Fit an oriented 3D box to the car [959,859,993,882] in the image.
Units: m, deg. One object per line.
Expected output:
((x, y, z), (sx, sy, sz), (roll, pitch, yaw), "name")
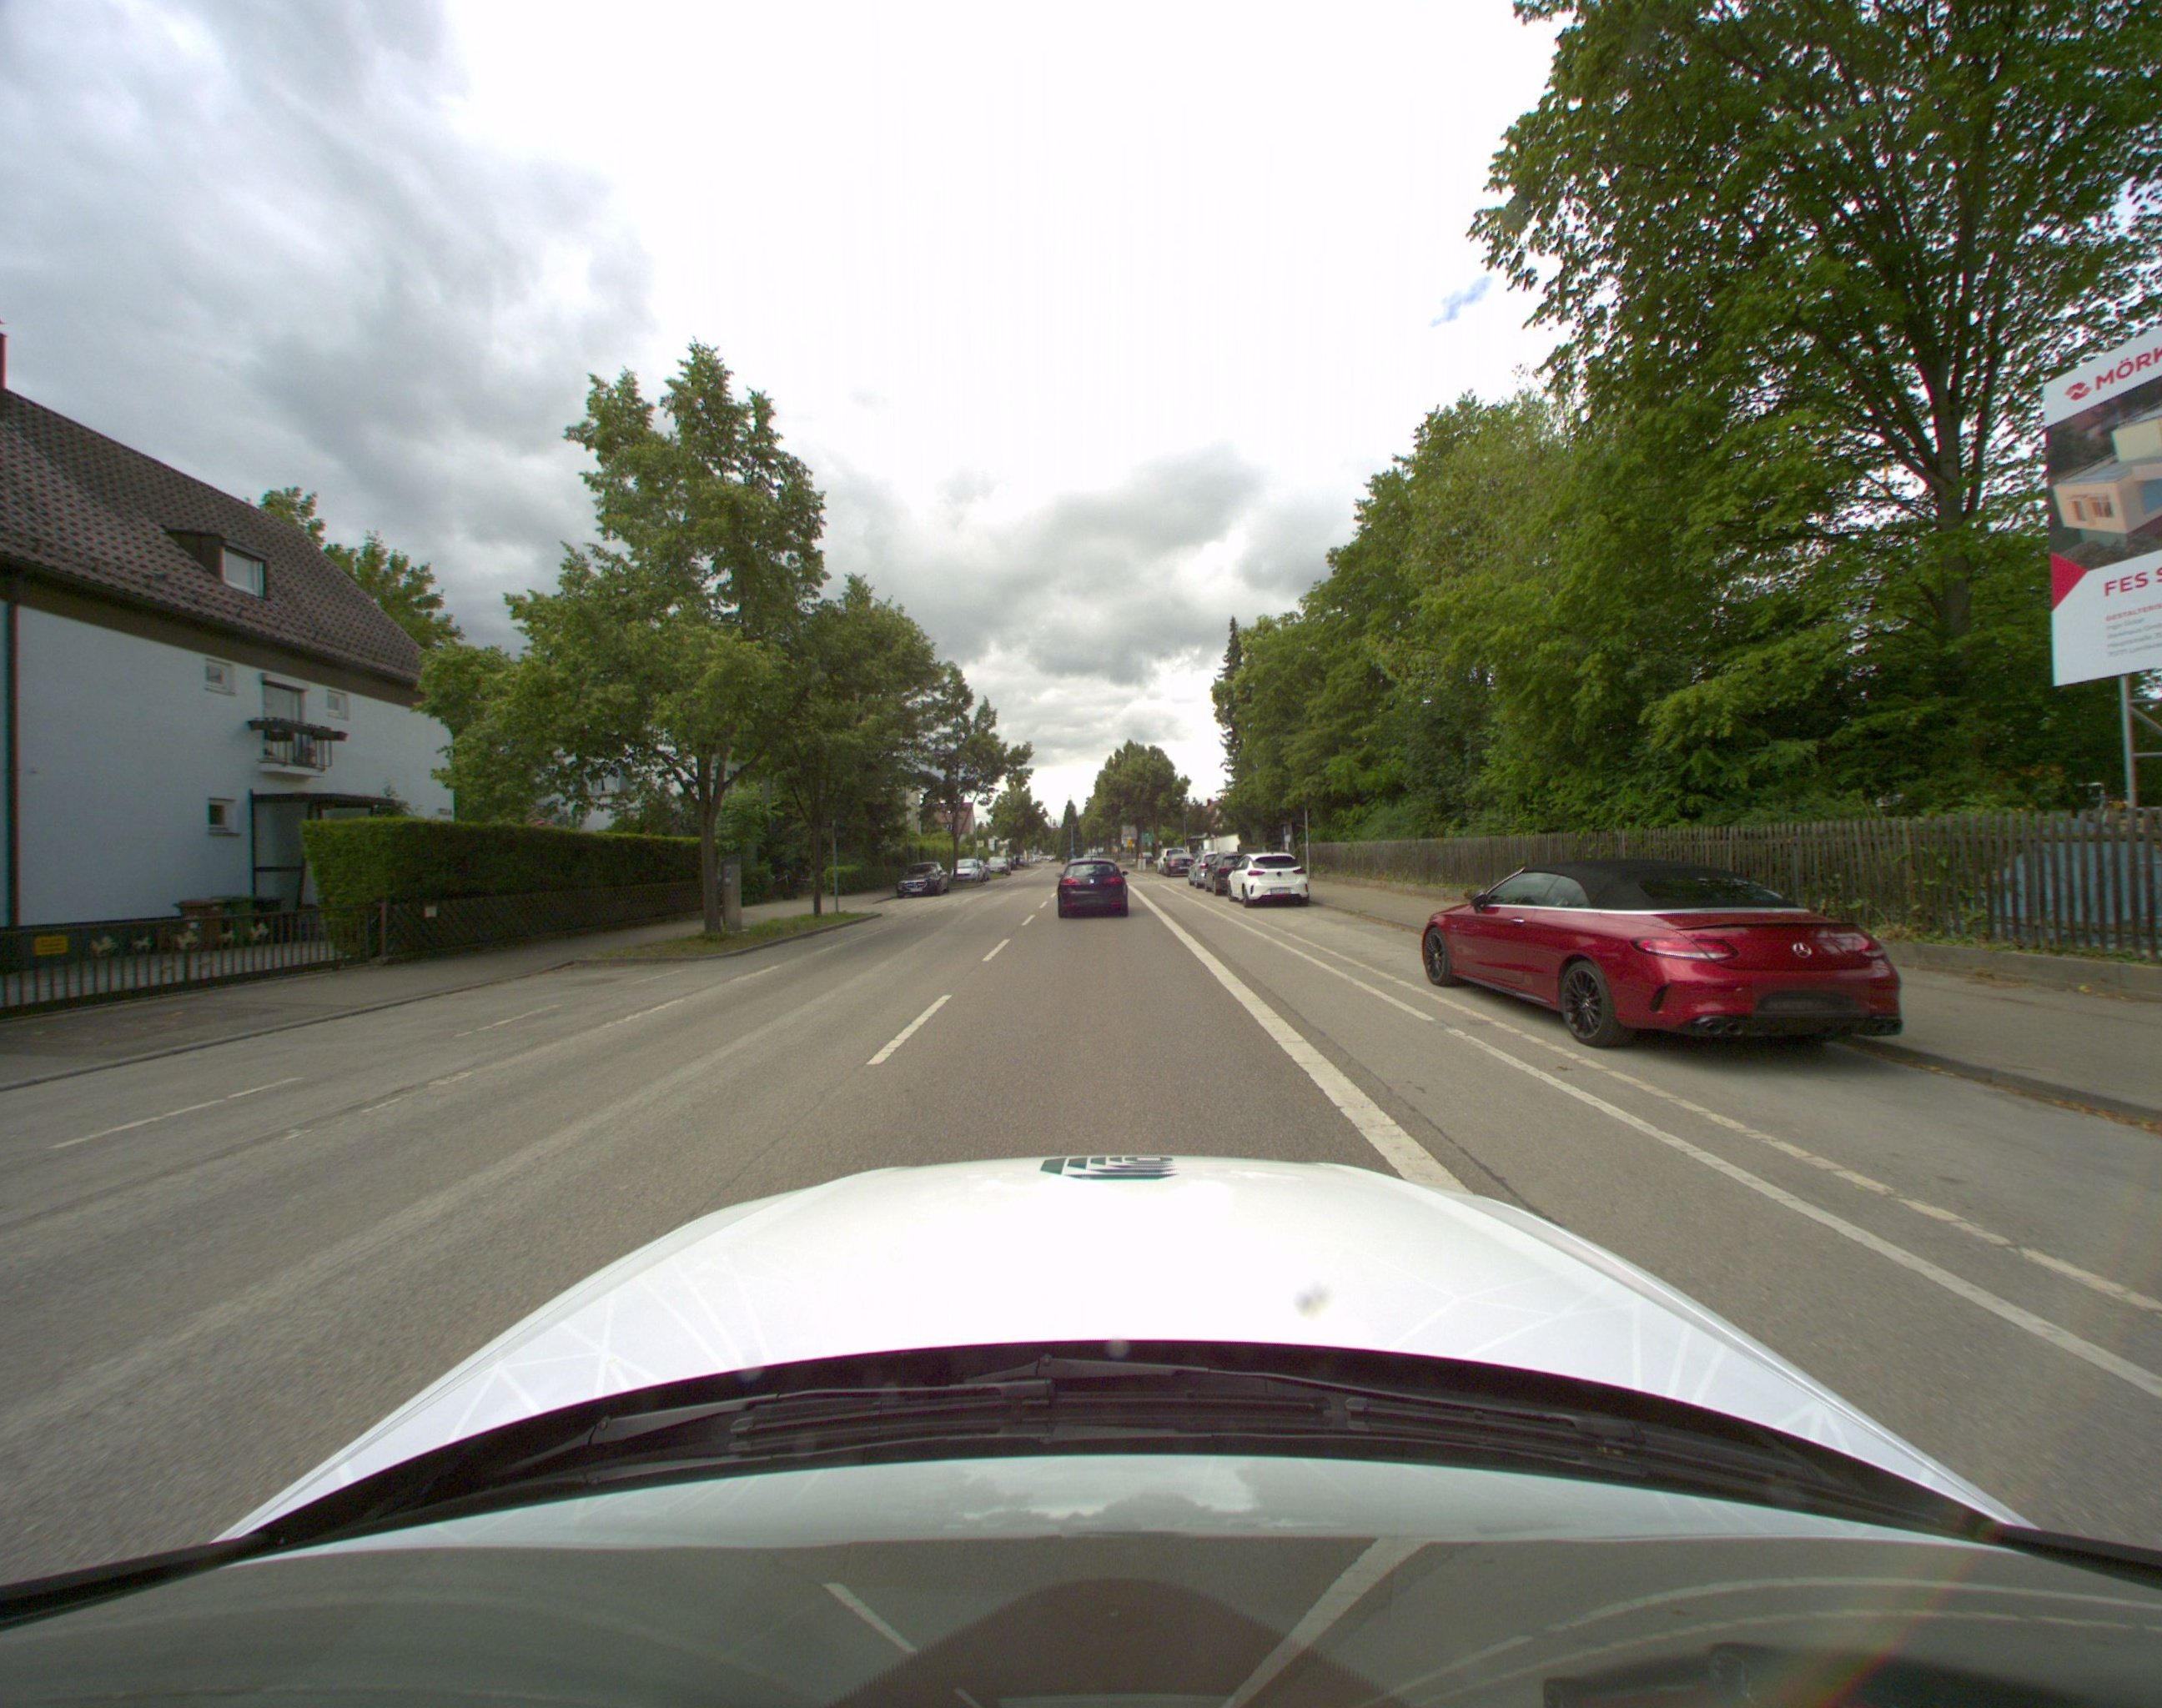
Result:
((-7.582, 1.133, 59.035), (1.989, 1.485, 4.885), (-3, 0, -3), "car")

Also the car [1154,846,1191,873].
((6.002, 0.385, 53.778), (1.895, 1.642, 4.115), (-2, 0, 0), "car")

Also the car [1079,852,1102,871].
((0.892, 0.645, 74.748), (1.987, 1.613, 4.000), (-2, 0, 1), "car")

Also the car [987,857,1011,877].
((-6.959, 1.100, 69.324), (1.672, 1.552, 4.269), (-3, 0, -2), "car")

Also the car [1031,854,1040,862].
((-10.747, 0.939, 192.255), (1.793, 1.601, 3.998), (-3, 0, -1), "car")

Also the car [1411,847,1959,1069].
((4.801, 0.658, 7.489), (1.852, 1.413, 4.445), (0, 1, 1), "car")

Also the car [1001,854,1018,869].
((-8.626, 0.854, 98.422), (1.720, 1.724, 4.561), (-2, 0, -2), "car")

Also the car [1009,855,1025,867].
((-9.039, 0.987, 114.760), (1.854, 1.653, 4.294), (-2, 0, 0), "car")

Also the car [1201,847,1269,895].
((5.368, 0.540, 28.907), (1.695, 1.510, 4.539), (-1, 0, 2), "car")

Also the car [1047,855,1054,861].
((-7.972, 1.050, 213.911), (1.563, 1.634, 3.622), (-3, 0, 0), "car")

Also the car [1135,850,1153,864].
((7.023, 0.387, 90.654), (1.606, 1.377, 4.386), (-3, -1, 0), "car")

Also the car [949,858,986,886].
((-7.150, 1.112, 51.577), (1.713, 1.613, 3.909), (-3, 0, -1), "car")

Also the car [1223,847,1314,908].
((5.216, 0.621, 23.165), (1.761, 1.510, 4.033), (-2, 0, 2), "car")

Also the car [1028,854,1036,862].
((-12.706, 0.979, 210.250), (2.025, 1.970, 3.995), (-3, 0, -3), "car")

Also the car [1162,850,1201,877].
((5.838, 0.539, 47.698), (1.856, 1.417, 4.605), (-2, 0, 2), "car")

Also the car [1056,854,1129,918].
((0.346, 0.759, 21.237), (1.725, 1.486, 4.002), (0, 0, 2), "car")

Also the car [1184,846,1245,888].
((5.518, 0.511, 34.190), (1.855, 1.611, 4.687), (-1, 0, 1), "car")

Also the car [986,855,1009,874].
((-7.914, 0.980, 77.301), (1.817, 1.634, 4.581), (-3, 0, -3), "car")

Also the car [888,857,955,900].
((-7.168, 1.054, 37.134), (2.090, 1.647, 5.034), (-3, 0, -2), "car")
